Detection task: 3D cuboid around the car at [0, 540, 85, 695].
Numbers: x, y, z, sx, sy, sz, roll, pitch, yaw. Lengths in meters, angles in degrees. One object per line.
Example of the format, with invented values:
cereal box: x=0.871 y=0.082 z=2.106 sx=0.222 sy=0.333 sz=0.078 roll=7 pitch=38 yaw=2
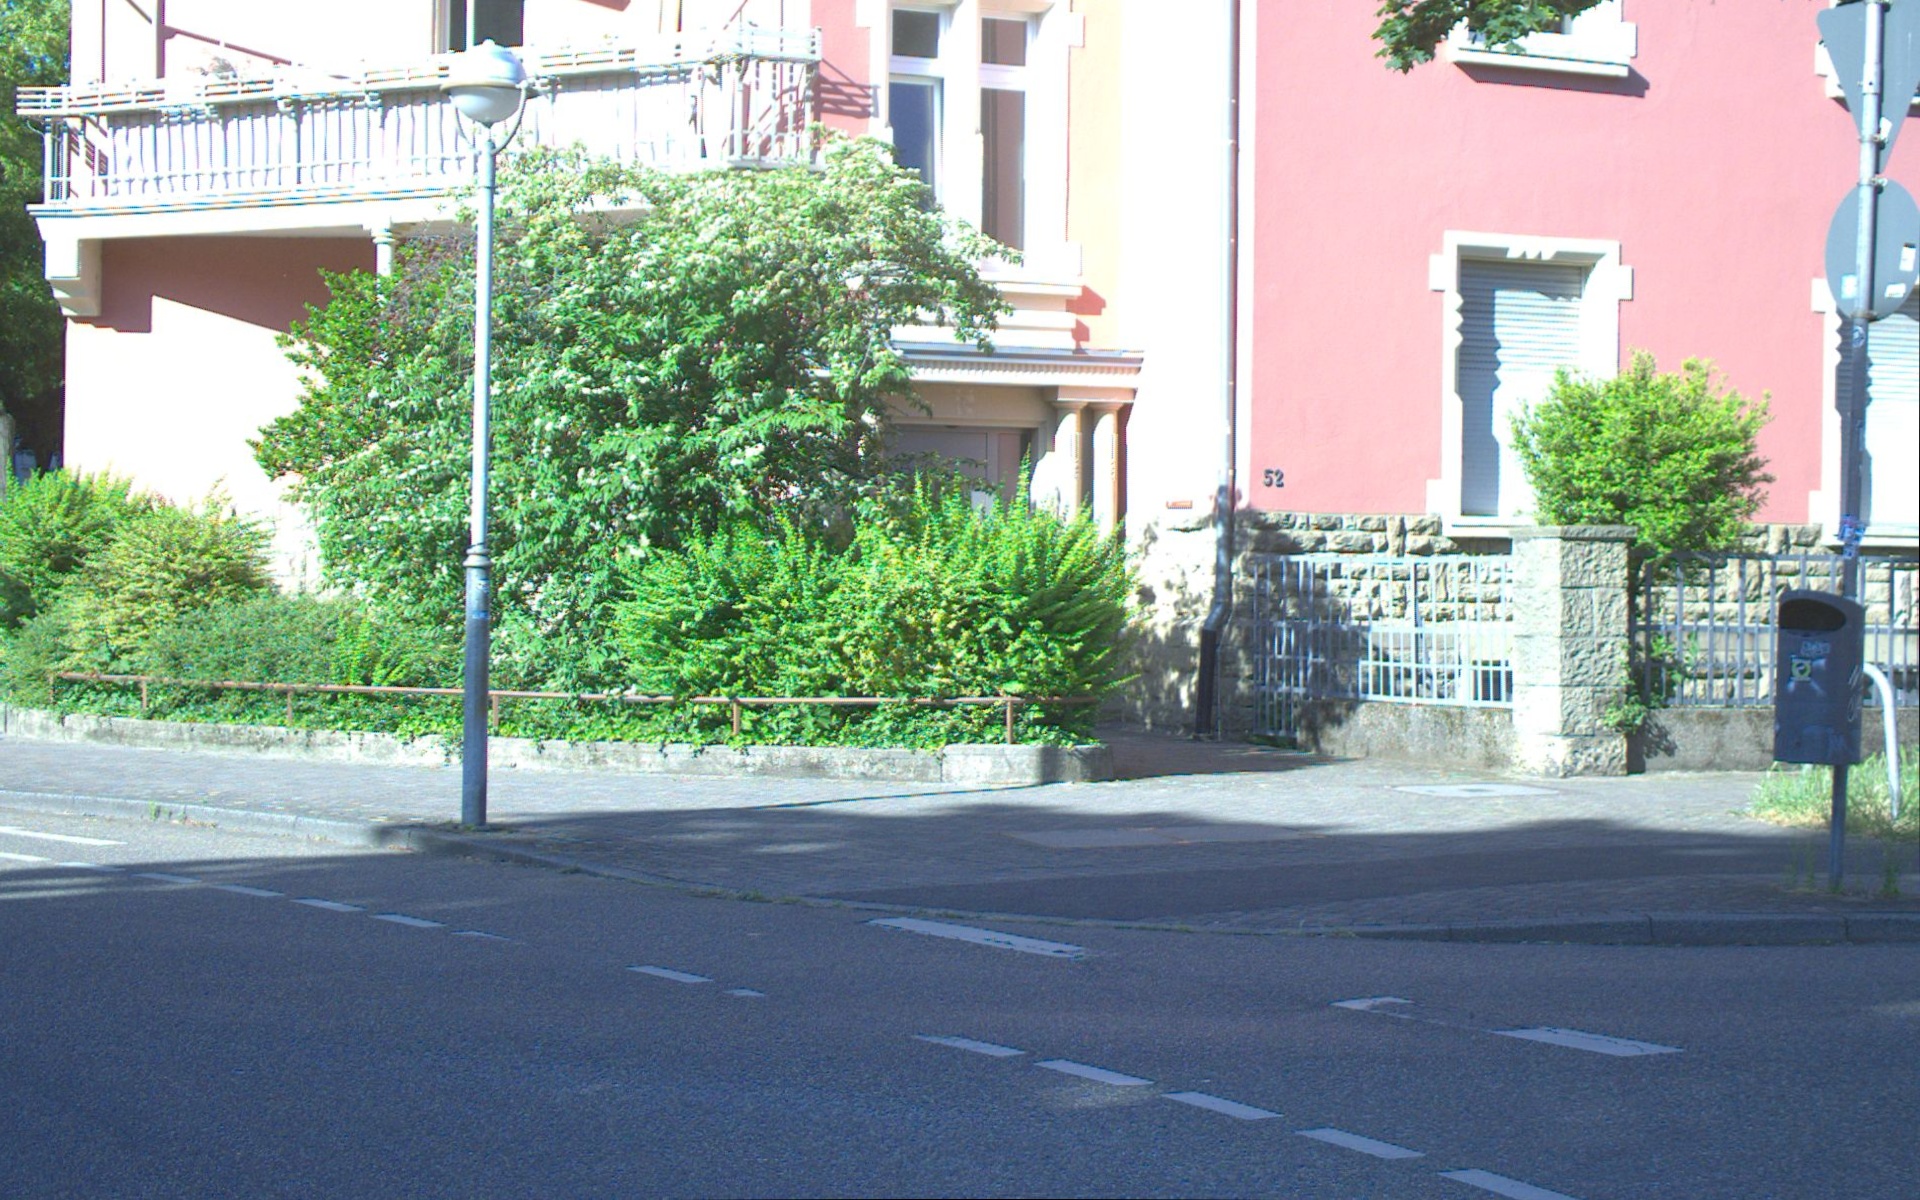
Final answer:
car: x=-10.569 y=0.150 z=35.590 sx=1.683 sy=1.557 sz=4.295 roll=2 pitch=1 yaw=3
